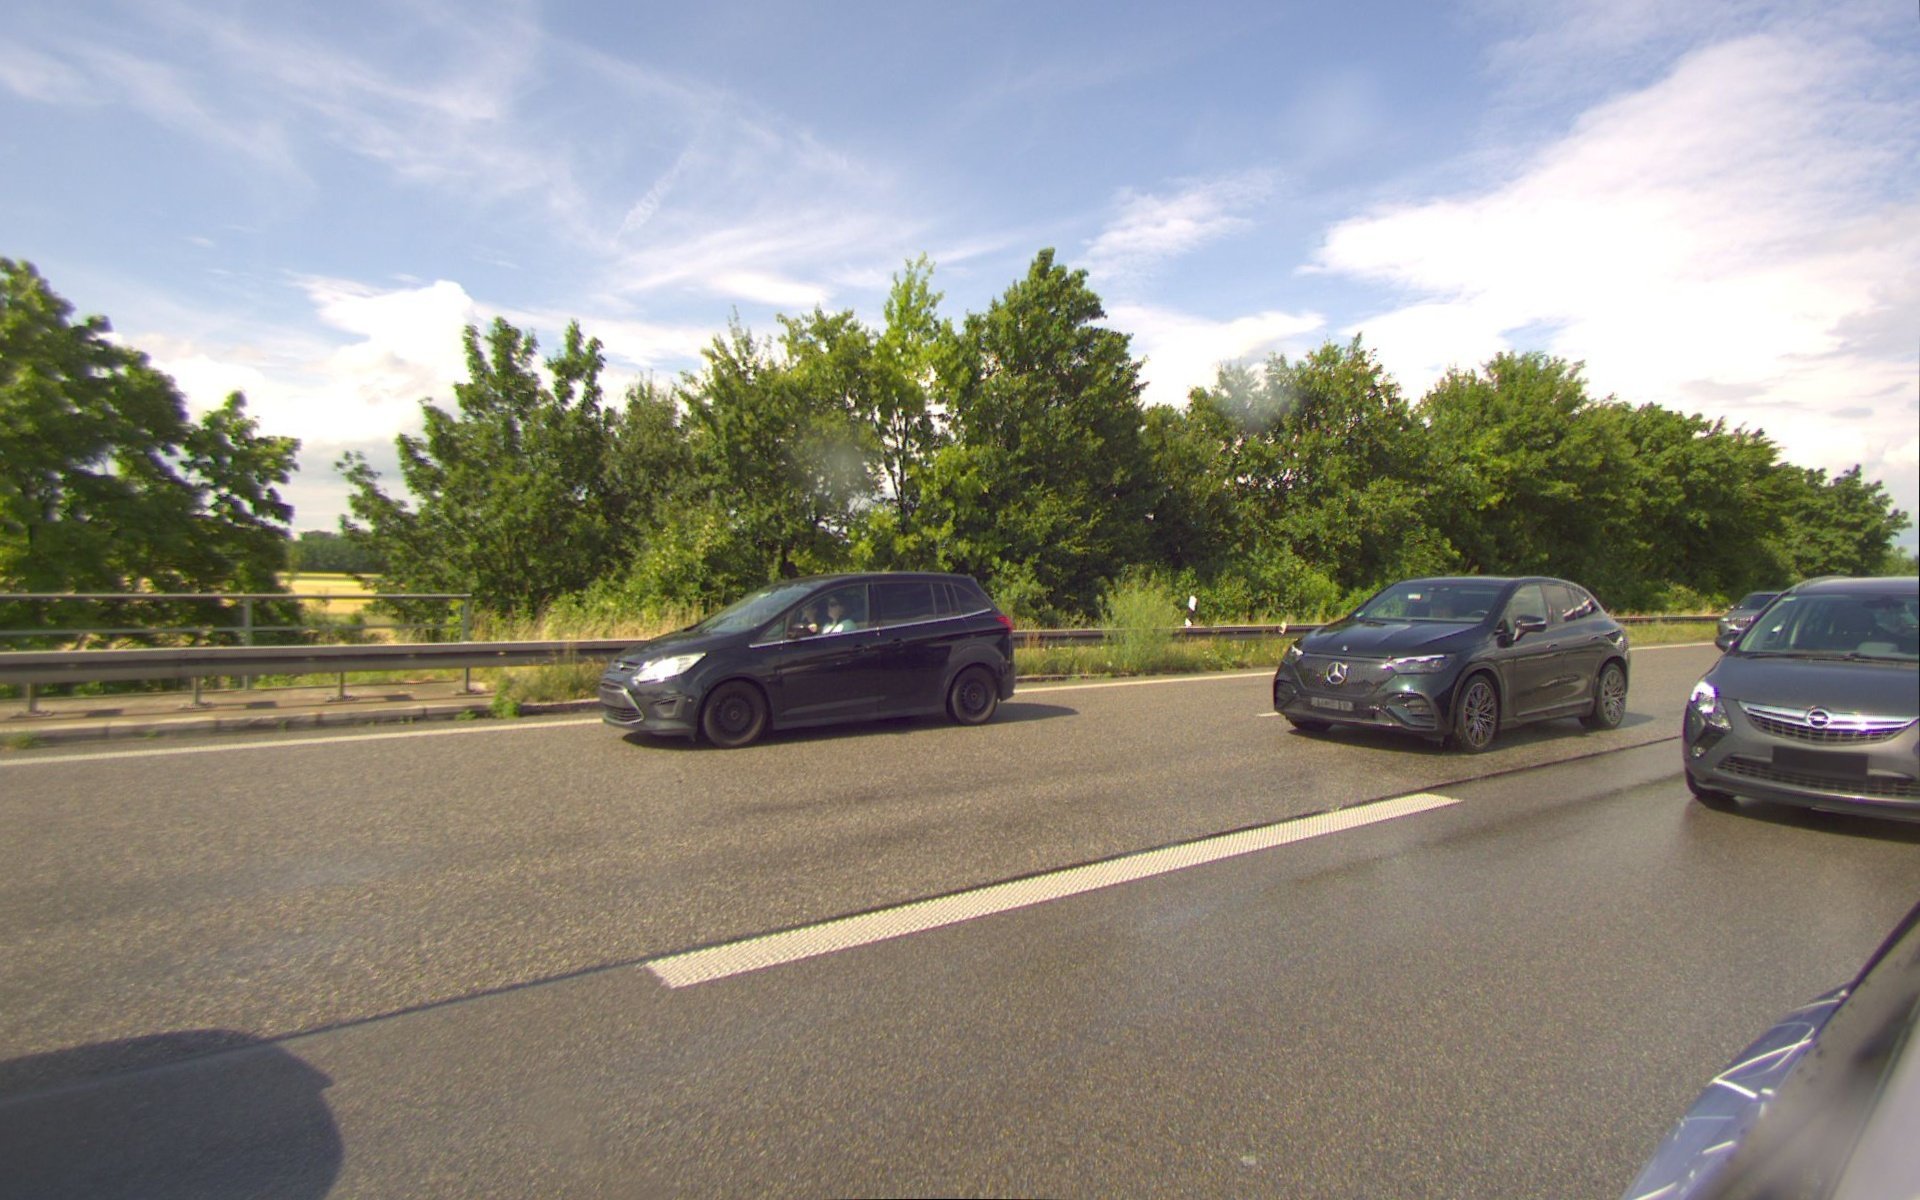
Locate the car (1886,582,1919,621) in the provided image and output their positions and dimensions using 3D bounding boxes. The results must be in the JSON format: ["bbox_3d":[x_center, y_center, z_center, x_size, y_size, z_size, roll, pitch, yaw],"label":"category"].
[{"bbox_3d":[37.385,0.035,38.975,4.423,1.481,1.792,-1,1,-37],"label":"car"}]

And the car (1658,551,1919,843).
[{"bbox_3d":[7.005,0.541,7.382,4.315,1.668,1.884,0,1,-37],"label":"car"}]

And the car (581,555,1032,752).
[{"bbox_3d":[-1.465,0.434,10.479,4.282,1.641,1.826,0,0,-37],"label":"car"}]

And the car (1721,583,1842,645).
[{"bbox_3d":[23.075,0.344,28.381,4.209,1.606,1.753,-1,1,-38],"label":"car"}]

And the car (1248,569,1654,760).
[{"bbox_3d":[5.297,0.514,10.681,4.567,1.601,1.999,0,1,-37],"label":"car"}]
